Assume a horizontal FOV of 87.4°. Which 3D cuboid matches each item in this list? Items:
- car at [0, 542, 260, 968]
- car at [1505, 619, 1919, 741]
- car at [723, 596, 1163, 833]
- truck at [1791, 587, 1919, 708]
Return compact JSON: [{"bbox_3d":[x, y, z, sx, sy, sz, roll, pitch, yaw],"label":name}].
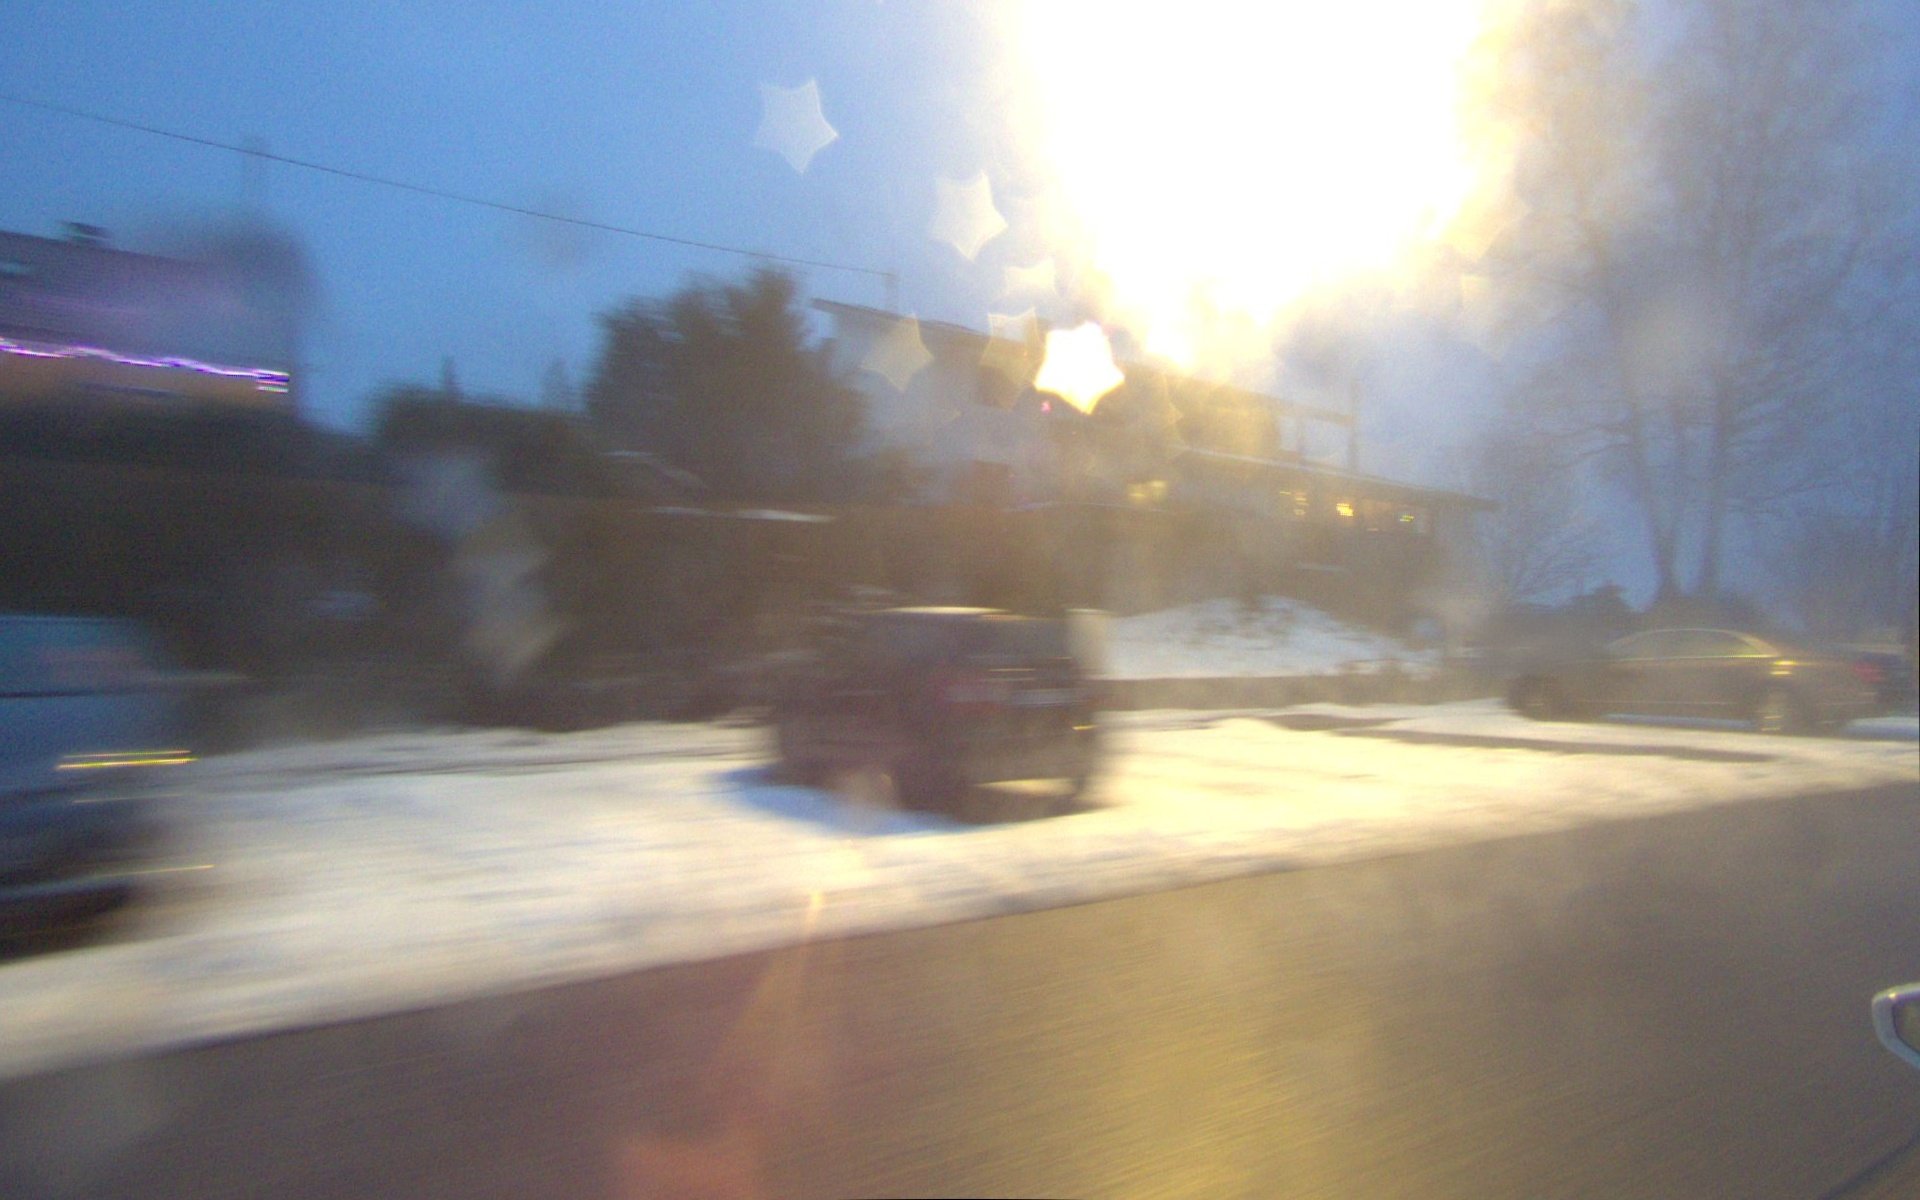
[{"bbox_3d":[-5.194,0.640,5.325,2.093,1.587,4.491,1,-3,-39],"label":"car"},{"bbox_3d":[11.107,1.091,14.976,2.099,1.504,4.862,1,-3,-31],"label":"car"},{"bbox_3d":[-0.366,0.797,8.470,1.920,1.491,3.829,1,-2,-35],"label":"car"},{"bbox_3d":[19.719,0.908,19.434,1.978,2.333,5.233,1,-3,-32],"label":"truck"}]
